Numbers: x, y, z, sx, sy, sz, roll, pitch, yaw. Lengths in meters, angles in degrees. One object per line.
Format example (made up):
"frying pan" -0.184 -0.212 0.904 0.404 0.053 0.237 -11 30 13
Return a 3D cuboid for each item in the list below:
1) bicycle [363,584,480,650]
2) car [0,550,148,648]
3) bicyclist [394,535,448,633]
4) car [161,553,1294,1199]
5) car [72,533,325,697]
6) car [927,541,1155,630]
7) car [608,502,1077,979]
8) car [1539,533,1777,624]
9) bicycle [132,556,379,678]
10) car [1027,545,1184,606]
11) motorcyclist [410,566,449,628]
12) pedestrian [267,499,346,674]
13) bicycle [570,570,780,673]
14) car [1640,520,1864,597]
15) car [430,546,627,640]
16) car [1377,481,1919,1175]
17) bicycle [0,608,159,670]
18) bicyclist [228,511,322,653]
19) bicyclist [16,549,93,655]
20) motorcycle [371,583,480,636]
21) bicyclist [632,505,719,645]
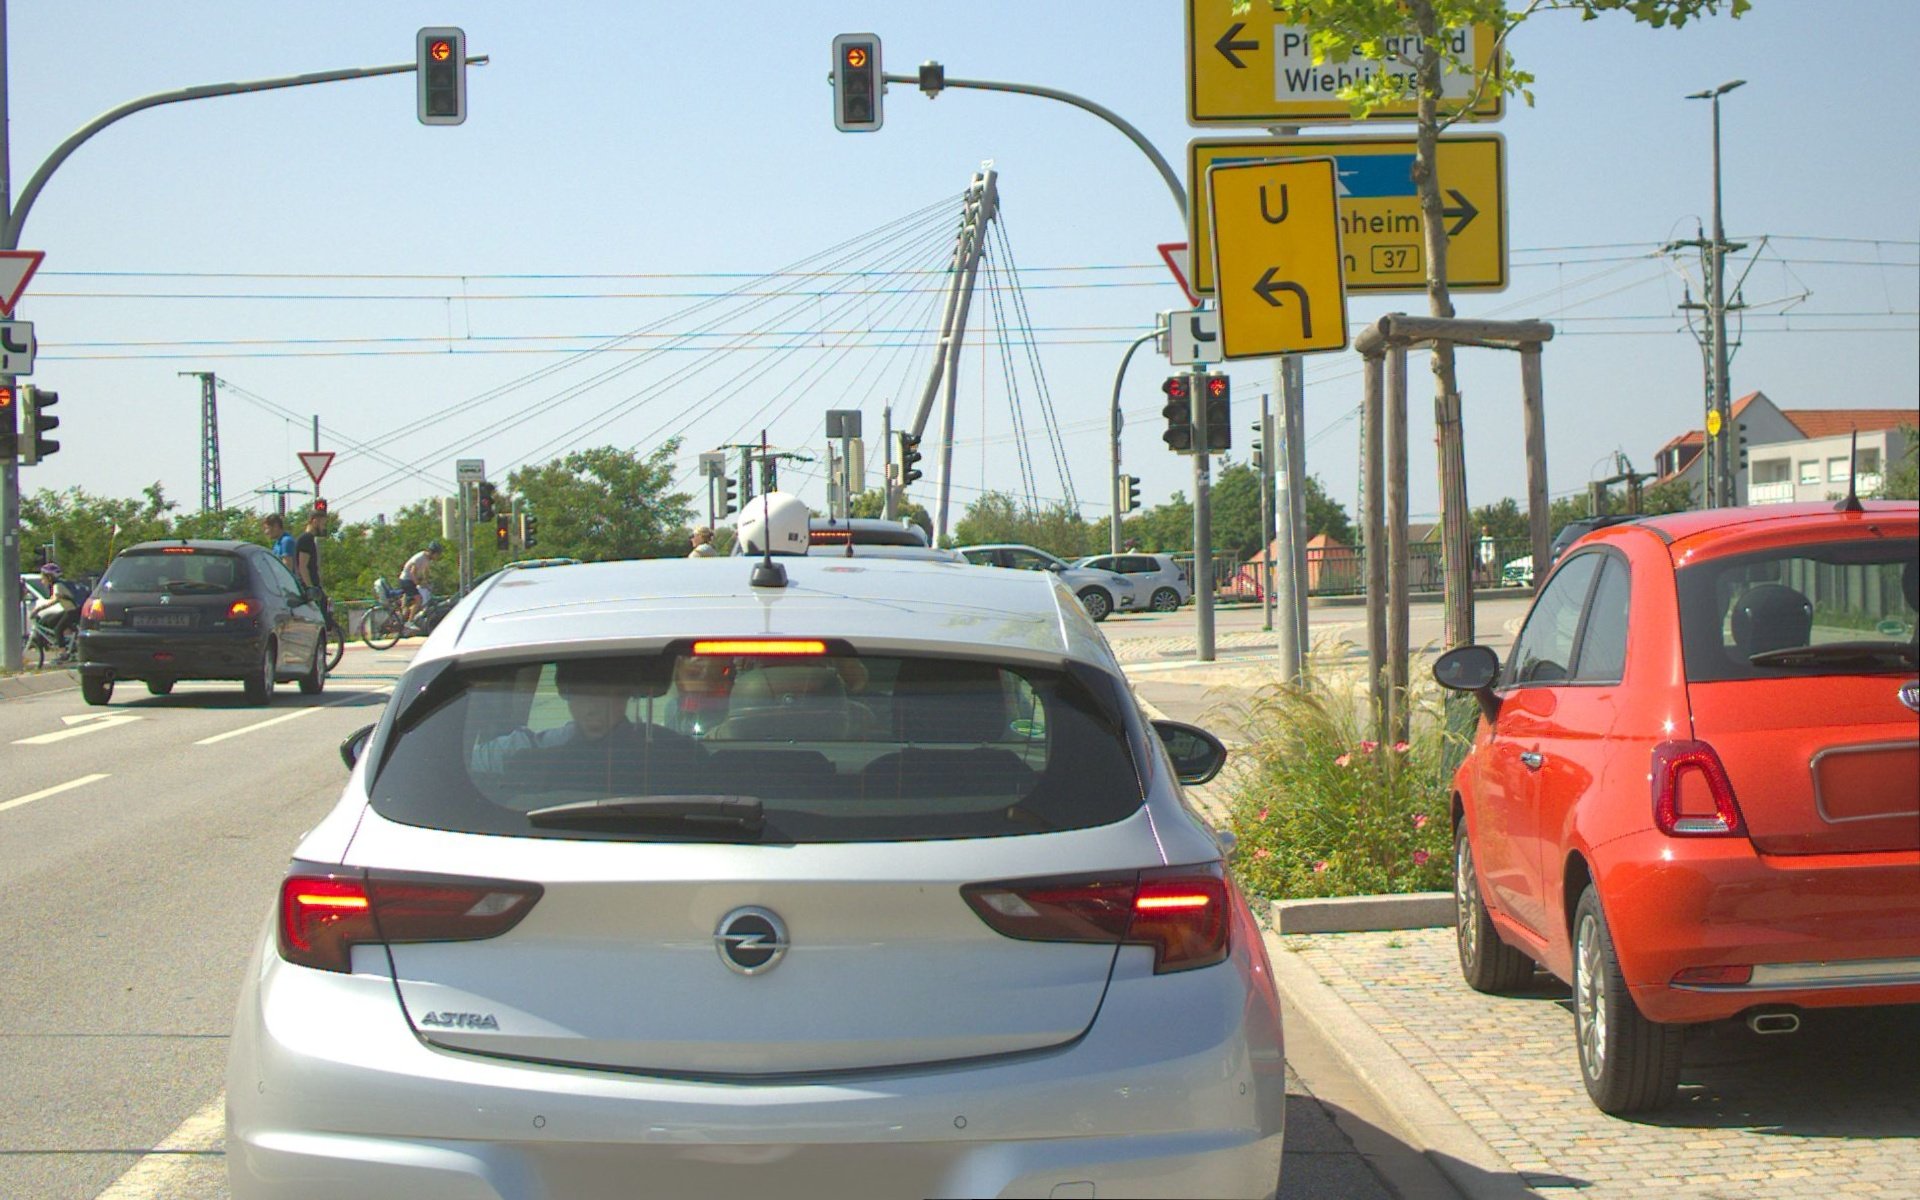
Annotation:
"bicycle" -9.020 0.282 57.608 1.866 1.064 0.578 1 0 -1
"car" -17.751 -0.044 65.623 4.038 1.808 1.929 1 0 25
"bicyclist" -9.022 -0.270 57.557 0.771 1.604 0.949 1 0 -2
"car" -0.394 0.660 7.283 1.690 1.514 4.271 0 1 -1
"car" -6.784 0.123 30.902 1.587 1.390 3.340 0 0 -1
"car" 1.454 -0.262 62.744 3.974 1.546 1.676 -1 0 -5
"car" -0.463 0.497 14.149 1.634 1.668 3.745 1 0 -1
"car" 12.440 -0.378 61.358 3.746 1.578 1.814 0 0 -13
"bicycle" -7.857 0.187 38.397 2.524 1.130 0.728 -5 3 2
"car" 3.237 -0.548 76.870 3.211 1.300 1.524 1 0 -12
"motorcyclist" -12.856 -0.078 83.313 0.809 1.471 0.885 1 0 -1
"pedestrian" -7.057 -0.144 37.135 0.740 1.857 0.754 1 0 -5
"bicycle" -3.244 0.239 39.233 2.357 1.123 0.677 1 0 -3
"car" 14.809 -0.784 64.361 3.789 1.357 1.533 -1 1 -6
"car" -9.584 -0.160 76.540 3.987 2.007 2.000 1 0 5
"car" 2.354 0.468 10.011 1.669 1.534 3.917 -2 2 -1
"bicycle" -10.258 0.438 38.939 2.246 0.690 0.516 0 0 0
"bicyclist" -7.645 -0.204 38.405 0.822 1.554 0.863 1 0 2
"bicyclist" -10.252 0.020 38.935 0.657 1.171 0.731 1 0 1
"motorcycle" -12.945 0.235 83.319 2.536 1.229 0.648 1 0 -1
"bicyclist" -3.242 -0.285 39.253 0.945 1.563 0.823 1 0 -4
